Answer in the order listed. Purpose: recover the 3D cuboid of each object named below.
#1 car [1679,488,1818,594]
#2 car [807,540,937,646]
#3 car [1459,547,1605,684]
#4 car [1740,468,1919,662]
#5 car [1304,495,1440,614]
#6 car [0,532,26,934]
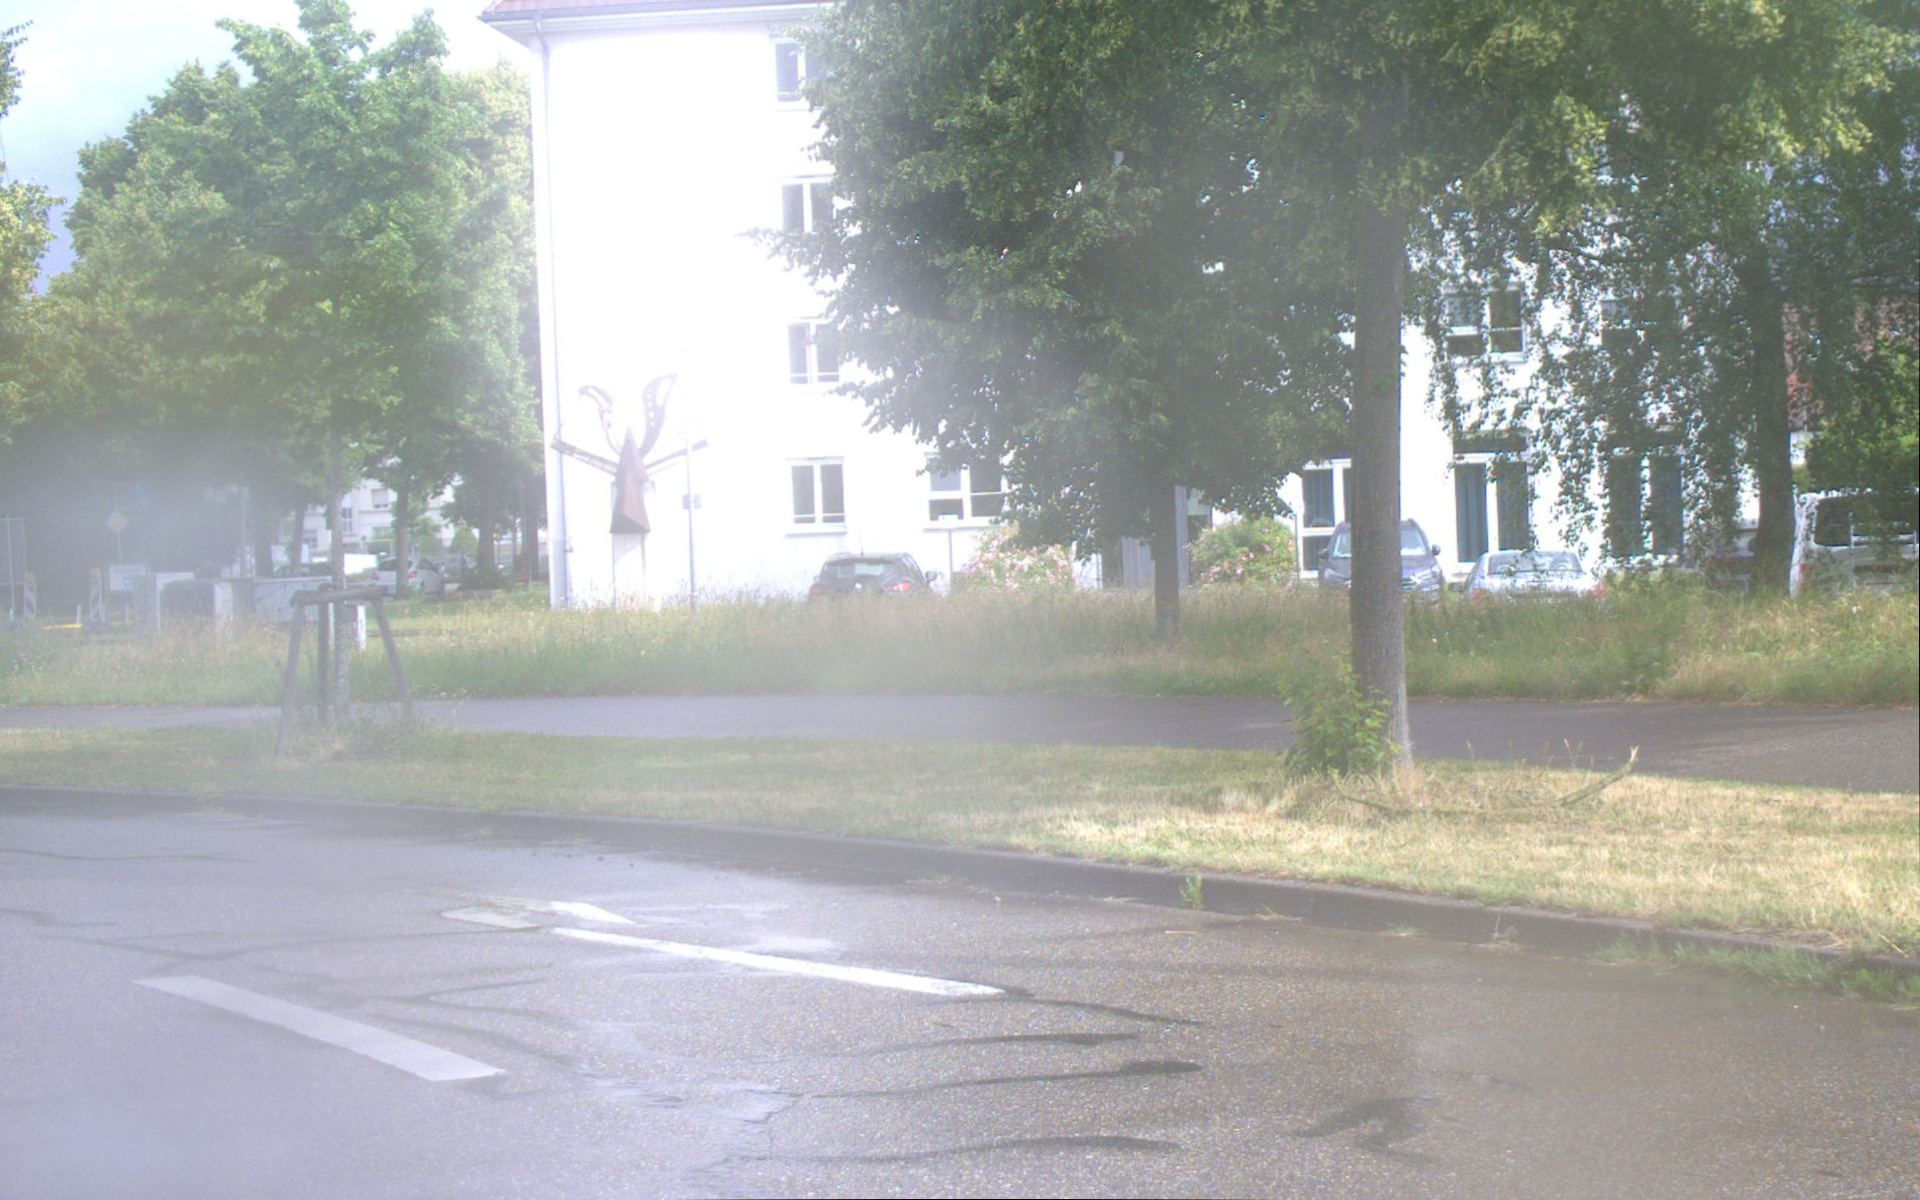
[{"bbox_3d":[11.819,-0.909,51.690,1.658,1.341,3.581,-2,4,7],"label":"car"},{"bbox_3d":[-1.335,-0.134,53.437,1.670,1.477,3.739,-2,2,3],"label":"car"},{"bbox_3d":[6.811,0.153,41.051,1.604,1.504,3.619,-2,1,9],"label":"car"},{"bbox_3d":[10.516,-0.478,40.789,2.107,2.050,5.160,-3,2,10],"label":"car"},{"bbox_3d":[6.250,-0.733,52.484,1.846,1.546,4.106,-2,3,5],"label":"car"},{"bbox_3d":[-5.599,0.585,15.111,1.897,1.612,4.000,-3,2,-29],"label":"car"}]
